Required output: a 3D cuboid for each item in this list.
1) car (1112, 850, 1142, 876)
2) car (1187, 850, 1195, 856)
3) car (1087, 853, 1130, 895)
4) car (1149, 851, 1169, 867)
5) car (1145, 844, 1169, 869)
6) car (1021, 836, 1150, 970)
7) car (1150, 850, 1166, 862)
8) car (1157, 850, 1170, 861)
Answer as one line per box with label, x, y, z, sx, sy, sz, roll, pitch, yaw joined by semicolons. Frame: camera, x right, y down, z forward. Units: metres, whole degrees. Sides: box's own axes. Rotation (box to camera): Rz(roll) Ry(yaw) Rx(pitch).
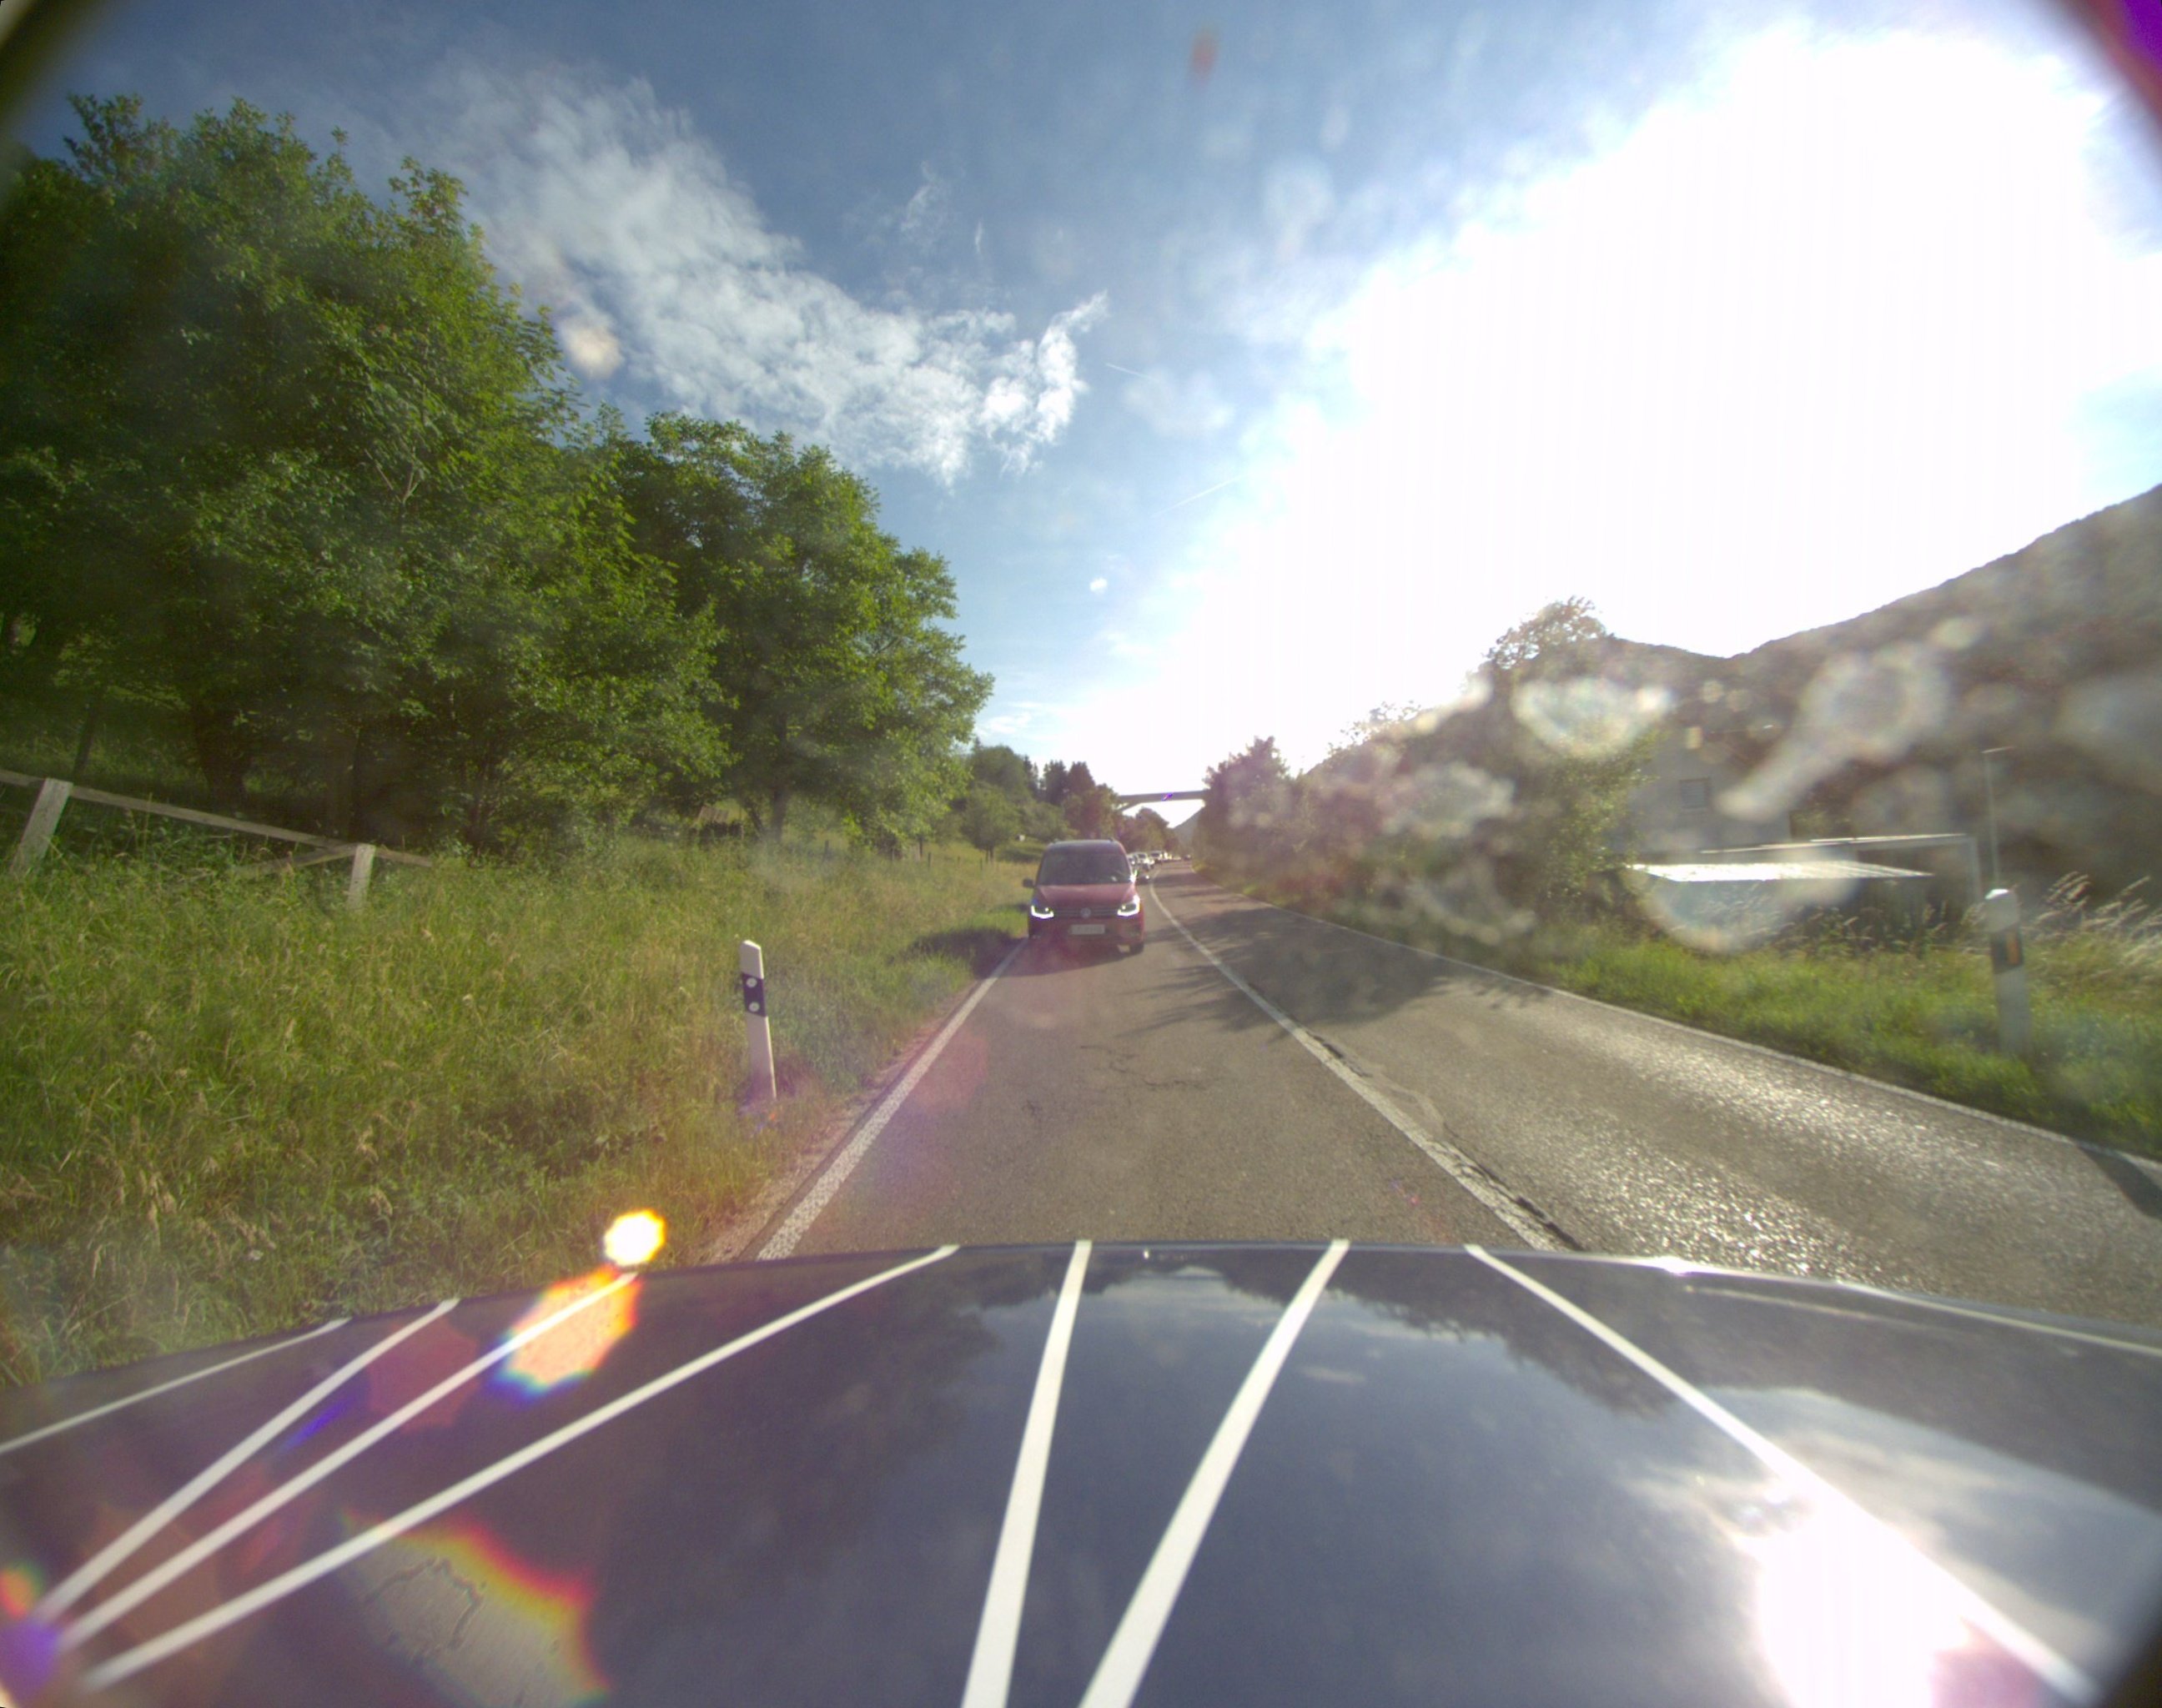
car;3.012;0.549;49.015;1.841;1.543;4.179;-1;0;5
car;28.354;-0.286;196.067;1.817;1.608;3.807;-1;0;6
car;1.139;0.750;30.012;1.571;1.575;3.527;-1;0;4
car;7.617;0.485;73.835;1.841;1.543;4.179;-1;0;6
car;6.372;0.170;63.544;1.914;2.002;4.002;-1;0;6
car;0.103;0.684;12.734;1.772;1.855;3.875;-2;0;1
car;9.970;0.244;98.184;1.817;1.608;4.003;-1;0;9
car;12.285;0.236;112.986;1.817;1.608;4.002;-1;0;8
